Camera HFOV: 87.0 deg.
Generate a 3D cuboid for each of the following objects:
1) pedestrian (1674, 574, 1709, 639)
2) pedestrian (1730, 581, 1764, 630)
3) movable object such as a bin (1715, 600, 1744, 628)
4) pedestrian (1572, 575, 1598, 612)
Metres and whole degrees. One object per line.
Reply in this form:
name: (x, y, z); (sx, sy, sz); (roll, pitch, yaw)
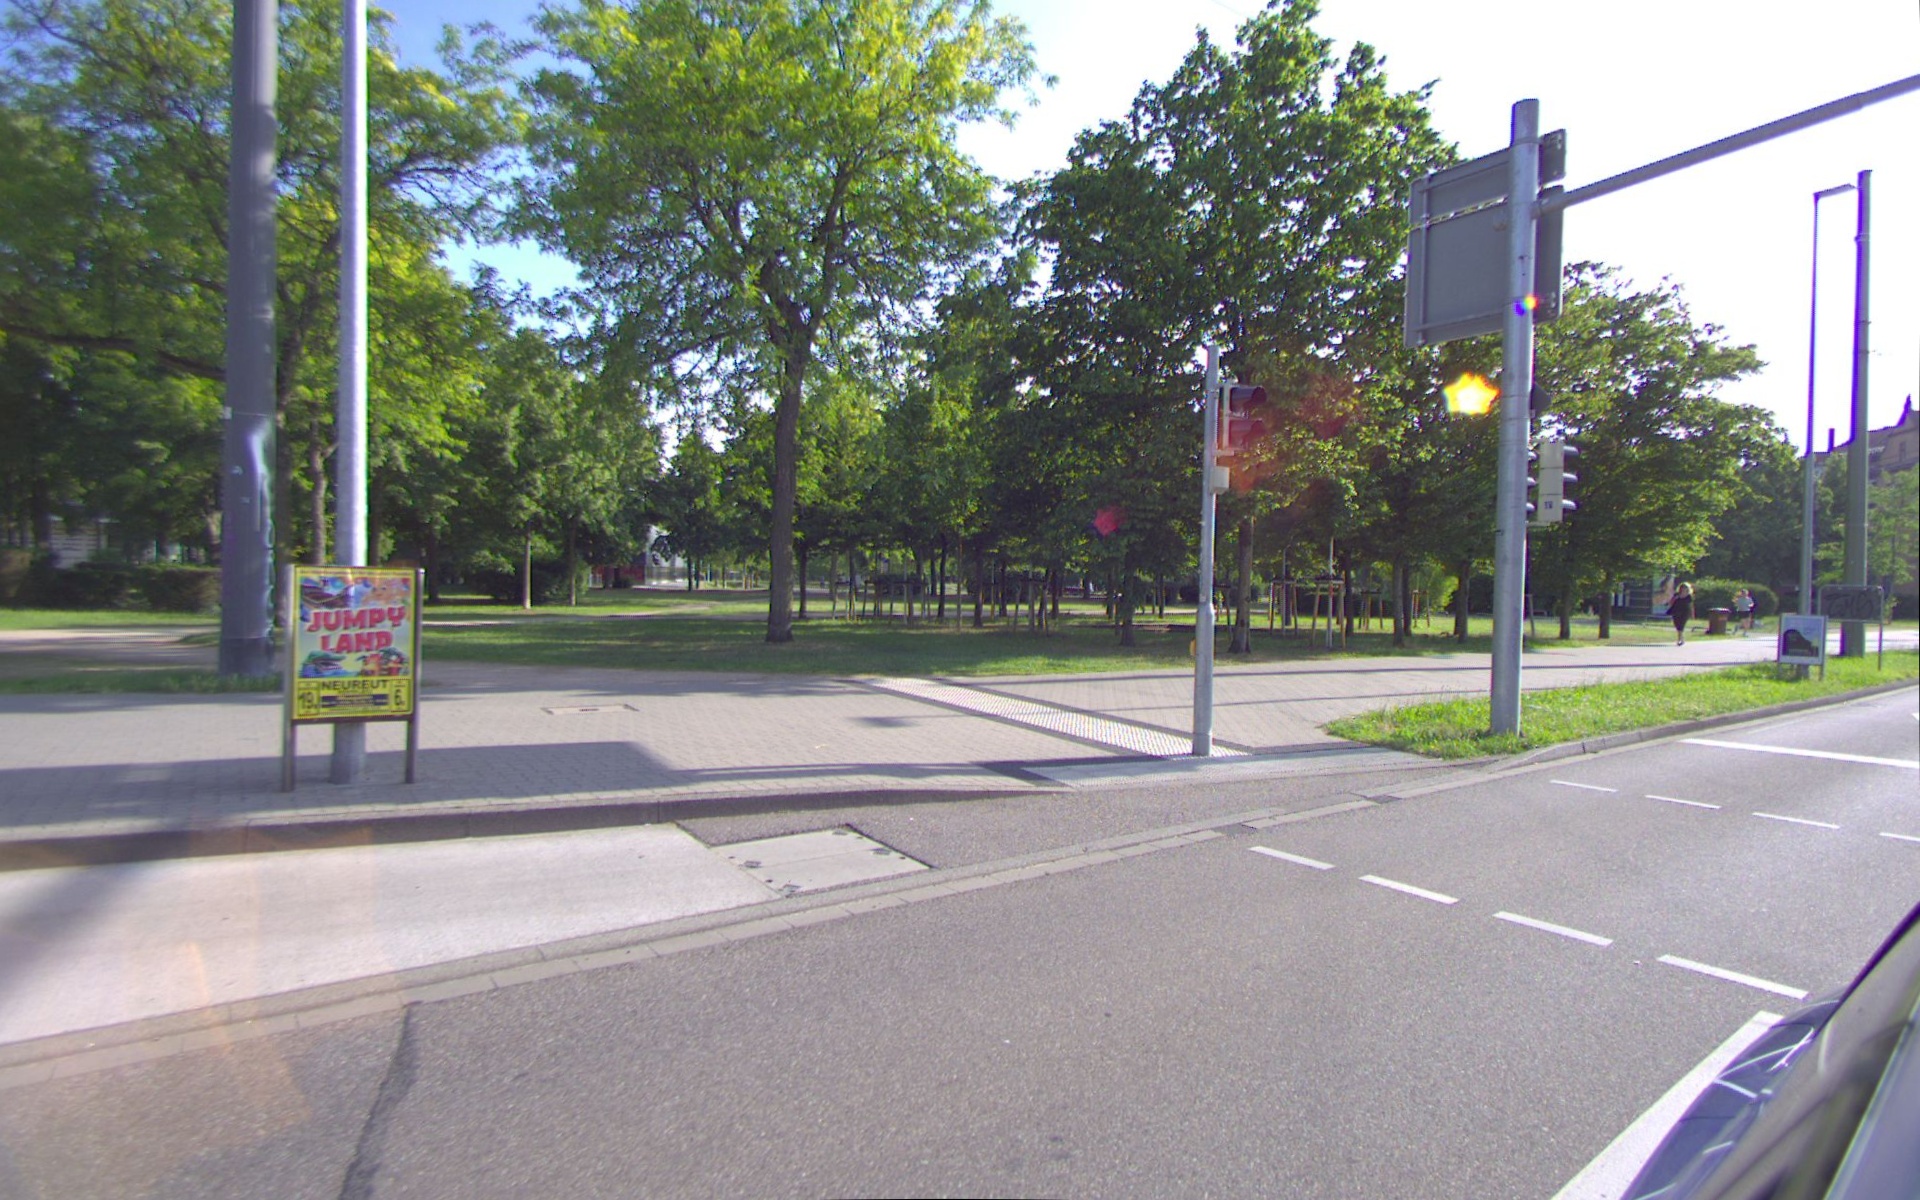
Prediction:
pedestrian: (19.569, 0.168, 27.081); (0.650, 1.722, 0.558); (1, 1, -38)
pedestrian: (27.371, 0.171, 35.201); (0.609, 1.672, 0.663); (1, 1, -4)
movable object such as a bin: (25.493, 0.456, 33.532); (0.515, 0.915, 0.504); (1, 1, 1)
pedestrian: (37.038, -0.400, 60.003); (0.872, 2.185, 0.914); (1, 1, -25)
